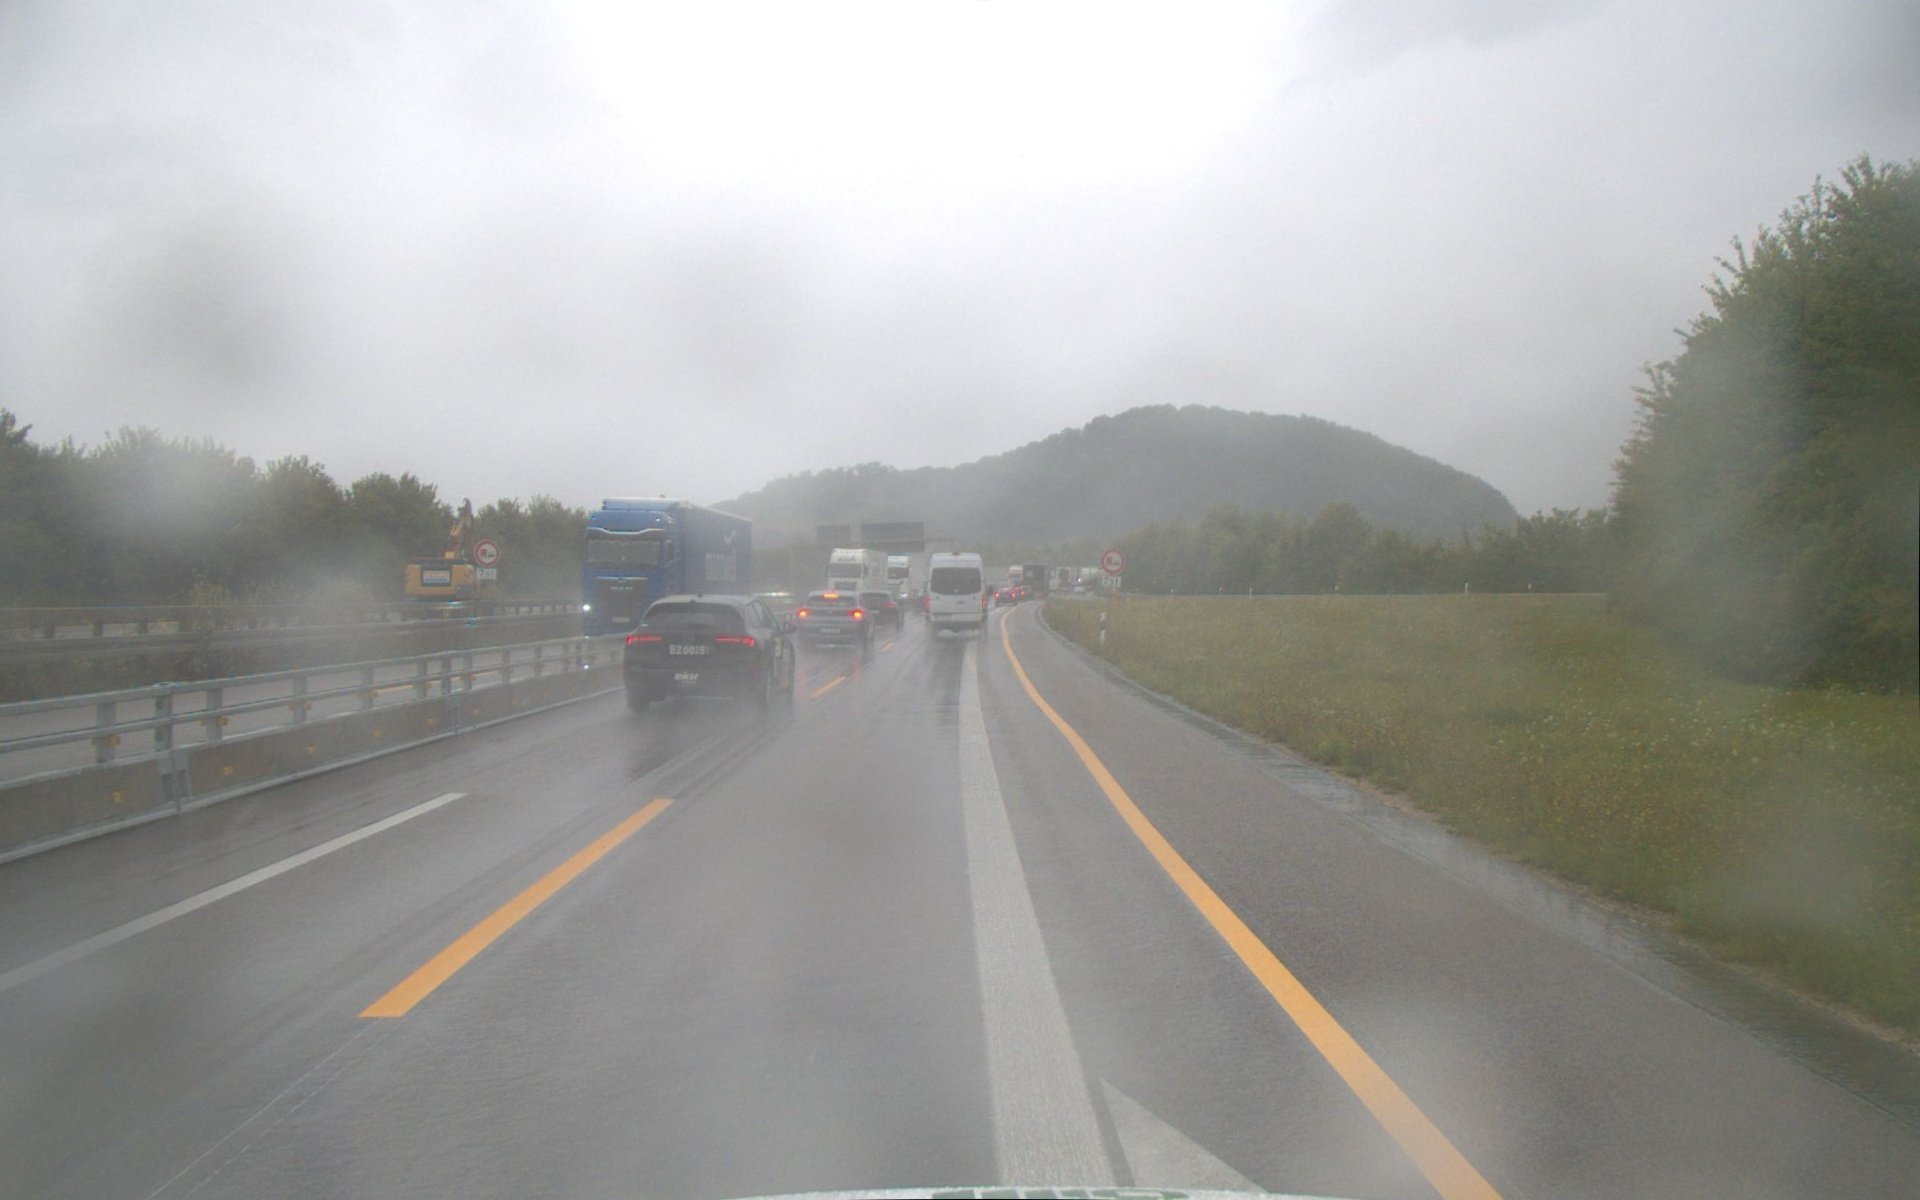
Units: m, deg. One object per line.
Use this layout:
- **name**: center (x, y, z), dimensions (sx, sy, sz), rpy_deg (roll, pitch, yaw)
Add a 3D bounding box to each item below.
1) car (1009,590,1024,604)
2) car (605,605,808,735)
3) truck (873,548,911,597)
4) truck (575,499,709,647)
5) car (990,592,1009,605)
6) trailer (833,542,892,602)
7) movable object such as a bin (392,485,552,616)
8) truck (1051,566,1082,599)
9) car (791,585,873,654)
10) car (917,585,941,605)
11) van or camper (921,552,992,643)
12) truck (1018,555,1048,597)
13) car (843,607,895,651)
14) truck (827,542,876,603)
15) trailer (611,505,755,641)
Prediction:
- **car**: center (5.454, -0.291, 159.807), dimensions (1.356, 1.278, 3.123), rpy_deg (0, 0, 1)
- **car**: center (-3.183, 0.824, 21.700), dimensions (1.899, 1.452, 4.760), rpy_deg (1, 0, 0)
- **truck**: center (-5.923, -2.385, 145.260), dimensions (2.824, 4.173, 6.928), rpy_deg (0, 1, 1)
- **truck**: center (-9.510, -0.804, 50.174), dimensions (2.569, 4.153, 6.671), rpy_deg (1, 1, 2)
- **car**: center (3.219, -0.124, 135.344), dimensions (1.356, 1.097, 3.121), rpy_deg (0, 0, -2)
- **trailer**: center (-6.988, -2.039, 120.519), dimensions (2.441, 4.120, 12.596), rpy_deg (0, 1, 5)
- **movable object such as a bin**: center (-24.117, -2.319, 82.621), dimensions (4.084, 6.018, 11.049), rpy_deg (1, 0, 3)
- **truck**: center (16.742, -2.708, 259.629), dimensions (3.844, 4.868, 9.915), rpy_deg (1, 0, 9)
- **car**: center (-3.220, 0.461, 42.351), dimensions (1.829, 1.688, 3.987), rpy_deg (0, 0, -1)
- **car**: center (-1.721, -0.276, 91.498), dimensions (1.237, 1.097, 3.254), rpy_deg (0, 0, 0)
- **van or camper**: center (-0.161, -0.083, 52.850), dimensions (2.096, 2.769, 4.646), rpy_deg (0, 0, -2)
- **truck**: center (8.865, -2.825, 200.360), dimensions (3.250, 4.868, 9.912), rpy_deg (1, 0, 4)
- **car**: center (-3.293, 1.039, 60.508), dimensions (1.815, 1.527, 3.998), rpy_deg (0, 0, -2)
- **truck**: center (-7.452, -1.920, 114.539), dimensions (2.431, 4.101, 6.452), rpy_deg (1, 1, 5)
- **trailer**: center (-9.284, -0.827, 57.034), dimensions (2.546, 4.149, 12.434), rpy_deg (0, 0, 2)
